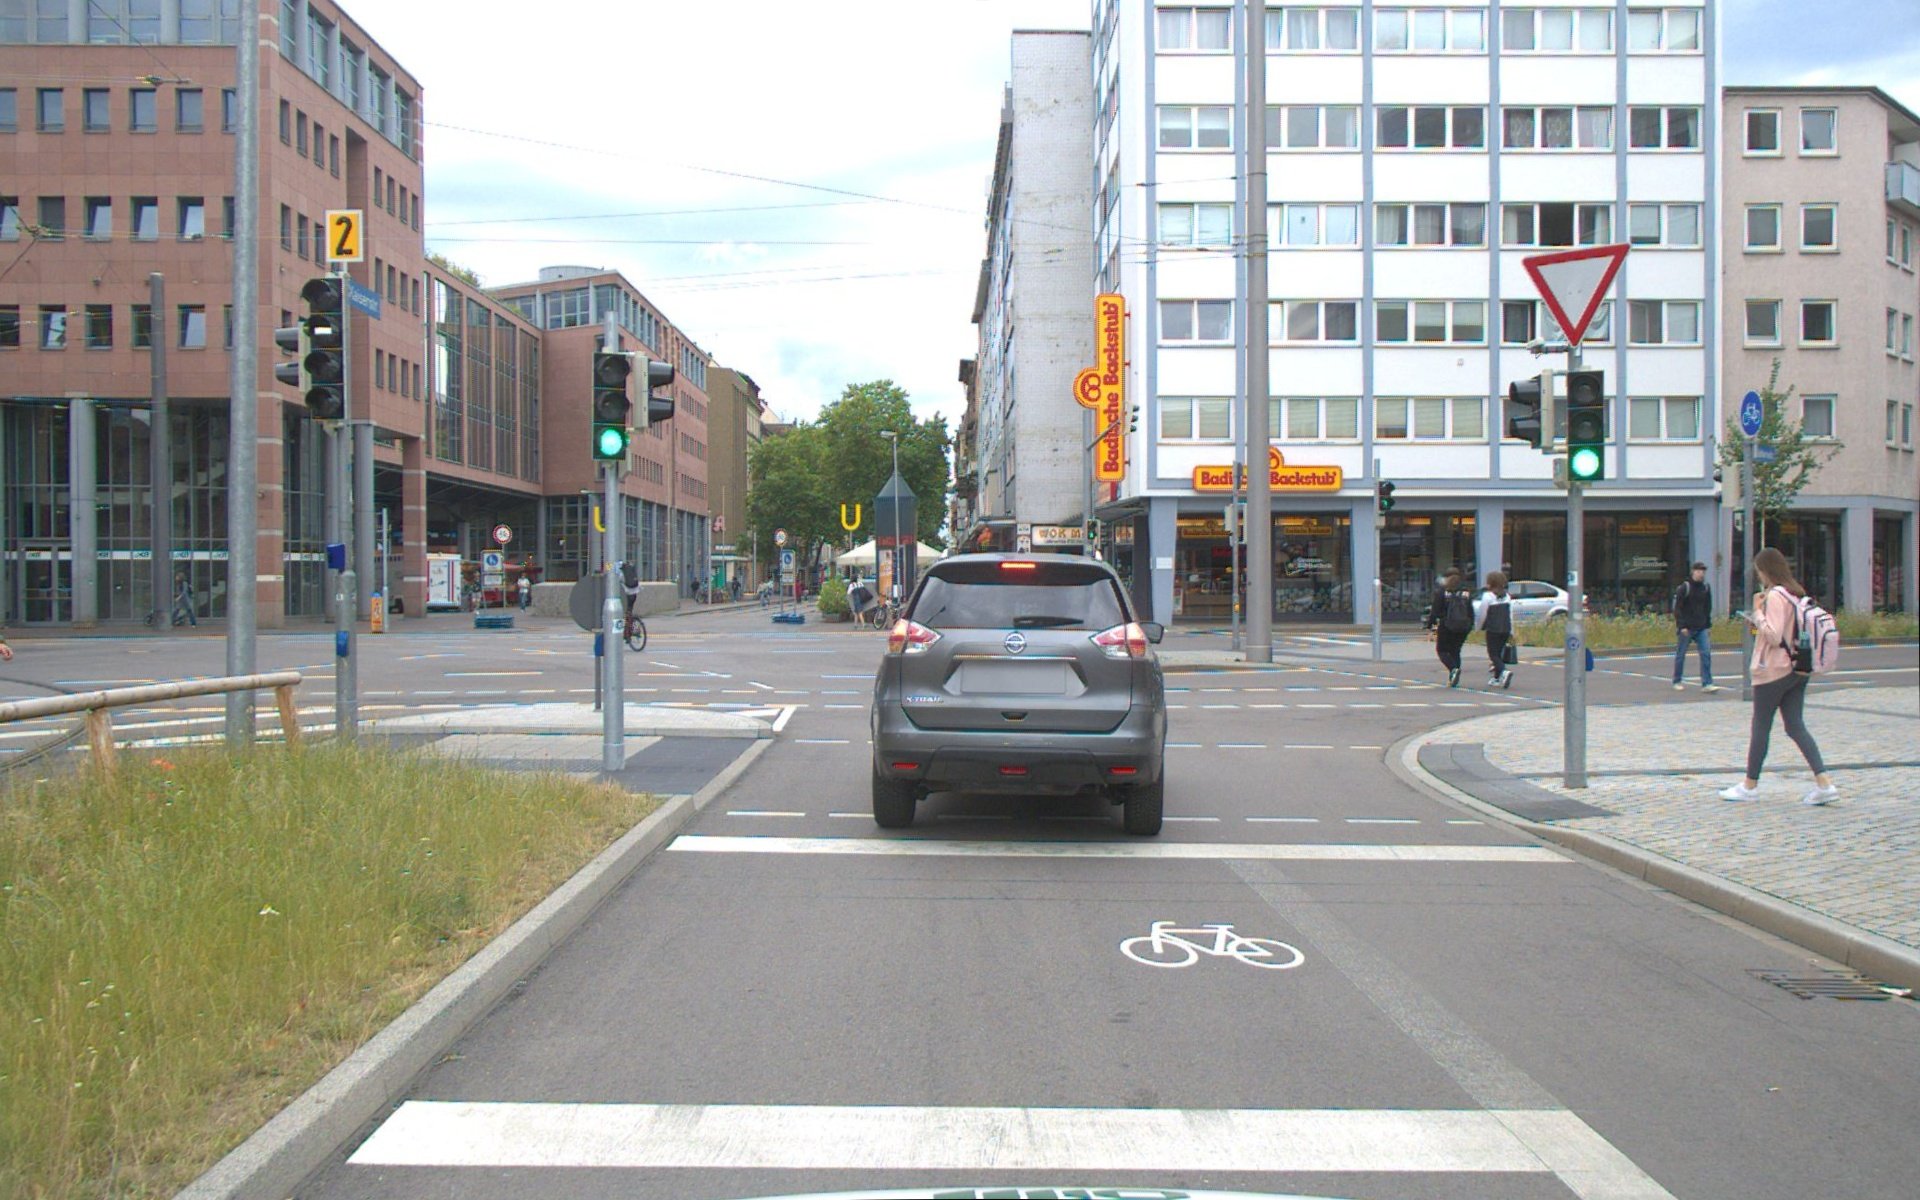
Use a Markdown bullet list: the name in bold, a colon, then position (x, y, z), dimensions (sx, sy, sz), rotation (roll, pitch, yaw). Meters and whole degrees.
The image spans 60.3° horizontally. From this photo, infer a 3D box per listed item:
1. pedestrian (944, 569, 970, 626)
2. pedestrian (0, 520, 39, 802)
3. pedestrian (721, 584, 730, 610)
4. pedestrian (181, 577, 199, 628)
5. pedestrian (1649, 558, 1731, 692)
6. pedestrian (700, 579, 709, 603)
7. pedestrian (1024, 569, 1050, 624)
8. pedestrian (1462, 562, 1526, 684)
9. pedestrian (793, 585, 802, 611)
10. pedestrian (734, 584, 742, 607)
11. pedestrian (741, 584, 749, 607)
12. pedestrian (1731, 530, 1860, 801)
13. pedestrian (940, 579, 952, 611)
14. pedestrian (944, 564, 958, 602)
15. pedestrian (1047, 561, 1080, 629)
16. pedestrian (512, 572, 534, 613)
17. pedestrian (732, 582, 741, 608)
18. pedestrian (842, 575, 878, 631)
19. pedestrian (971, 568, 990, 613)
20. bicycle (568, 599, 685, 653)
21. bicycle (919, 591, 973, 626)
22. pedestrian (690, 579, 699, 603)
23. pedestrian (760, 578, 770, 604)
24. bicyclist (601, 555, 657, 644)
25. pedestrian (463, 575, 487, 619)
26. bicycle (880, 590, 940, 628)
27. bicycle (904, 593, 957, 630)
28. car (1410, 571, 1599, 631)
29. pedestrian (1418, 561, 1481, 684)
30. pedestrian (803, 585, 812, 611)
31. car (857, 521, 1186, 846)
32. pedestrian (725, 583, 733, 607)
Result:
- **pedestrian**: position (-0.095, -0.091, 52.465), dimensions (0.718, 1.776, 0.662), rotation (1, 0, -9)
- **pedestrian**: position (-6.978, 0.409, 11.307), dimensions (0.879, 1.923, 0.798), rotation (1, -1, -3)
- **pedestrian**: position (-16.116, -0.196, 113.547), dimensions (0.589, 1.744, 0.654), rotation (1, 0, -8)
- **pedestrian**: position (-23.524, 0.073, 50.547), dimensions (0.442, 1.559, 0.519), rotation (1, 0, -19)
- **pedestrian**: position (10.753, 0.356, 24.399), dimensions (0.786, 1.895, 1.154), rotation (-2, 0, 9)
- **pedestrian**: position (-18.793, -0.683, 121.702), dimensions (0.589, 1.744, 0.654), rotation (1, 0, -8)
- **pedestrian**: position (2.460, -0.115, 52.966), dimensions (0.695, 1.734, 0.735), rotation (1, 0, 11)
- **pedestrian**: position (7.930, 0.332, 24.600), dimensions (0.609, 1.792, 0.778), rotation (1, 0, -9)
- **pedestrian**: position (-11.282, -0.147, 114.750), dimensions (0.589, 1.744, 0.654), rotation (1, 0, -8)
- **pedestrian**: position (-16.647, -0.324, 123.916), dimensions (0.589, 1.744, 0.654), rotation (1, 0, -8)
- **pedestrian**: position (-16.574, -0.367, 127.520), dimensions (0.589, 1.744, 0.654), rotation (1, 0, -8)
- **pedestrian**: position (5.684, 0.435, 11.273), dimensions (0.513, 1.792, 0.600), rotation (1, 0, -9)
- **pedestrian**: position (-0.761, -0.281, 90.012), dimensions (0.599, 1.734, 0.619), rotation (1, 0, 0)
- **pedestrian**: position (-0.396, -0.785, 75.490), dimensions (0.630, 1.734, 0.559), rotation (1, 0, 0)
- **pedestrian**: position (2.859, -0.147, 45.611), dimensions (0.699, 1.864, 1.015), rotation (1, 0, -8)
- **pedestrian**: position (-20.065, -0.359, 75.990), dimensions (0.685, 1.874, 0.735), rotation (1, 0, 18)
- **pedestrian**: position (-15.083, -0.351, 111.667), dimensions (0.589, 1.744, 0.654), rotation (1, 0, -8)
- **pedestrian**: position (-3.150, 0.075, 52.067), dimensions (0.906, 1.734, 0.735), rotation (1, 0, 19)
- **pedestrian**: position (0.853, -0.398, 69.285), dimensions (0.723, 1.853, 0.662), rotation (0, 0, -3)
- **bicycle**: position (-7.102, 0.525, 35.059), dimensions (0.897, 1.063, 3.225), rotation (0, 1, -43)
- **bicycle**: position (-0.448, 0.267, 52.891), dimensions (1.660, 1.084, 0.437), rotation (1, 0, 5)
- **pedestrian**: position (-19.524, -0.691, 121.593), dimensions (0.589, 1.744, 0.654), rotation (1, 0, -8)
- **pedestrian**: position (-11.514, -0.533, 97.770), dimensions (0.589, 1.563, 0.654), rotation (1, 0, -8)
- **bicyclist**: position (-6.996, -0.017, 34.960), dimensions (0.830, 1.844, 0.863), rotation (0, 1, -44)
- **pedestrian**: position (-20.840, -0.145, 71.105), dimensions (0.685, 1.874, 0.735), rotation (1, 0, 16)
- **bicycle**: position (-1.591, 0.279, 52.801), dimensions (1.836, 1.192, 0.529), rotation (1, 0, -15)
- **bicycle**: position (-0.966, 0.365, 53.611), dimensions (1.664, 1.192, 0.436), rotation (1, 0, -8)
- **car**: position (14.553, 0.014, 44.327), dimensions (4.461, 1.507, 1.747), rotation (-1, 0, -4)
- **pedestrian**: position (7.257, 0.324, 24.548), dimensions (0.609, 1.792, 0.778), rotation (1, 0, -9)
- **pedestrian**: position (-10.616, -0.141, 114.961), dimensions (0.589, 1.744, 0.654), rotation (1, 0, -8)
- **car**: position (0.481, 0.470, 11.531), dimensions (1.824, 1.806, 4.569), rotation (-1, 0, 4)
- **pedestrian**: position (-16.984, -0.381, 121.702), dimensions (0.589, 1.744, 0.654), rotation (1, 0, -8)
